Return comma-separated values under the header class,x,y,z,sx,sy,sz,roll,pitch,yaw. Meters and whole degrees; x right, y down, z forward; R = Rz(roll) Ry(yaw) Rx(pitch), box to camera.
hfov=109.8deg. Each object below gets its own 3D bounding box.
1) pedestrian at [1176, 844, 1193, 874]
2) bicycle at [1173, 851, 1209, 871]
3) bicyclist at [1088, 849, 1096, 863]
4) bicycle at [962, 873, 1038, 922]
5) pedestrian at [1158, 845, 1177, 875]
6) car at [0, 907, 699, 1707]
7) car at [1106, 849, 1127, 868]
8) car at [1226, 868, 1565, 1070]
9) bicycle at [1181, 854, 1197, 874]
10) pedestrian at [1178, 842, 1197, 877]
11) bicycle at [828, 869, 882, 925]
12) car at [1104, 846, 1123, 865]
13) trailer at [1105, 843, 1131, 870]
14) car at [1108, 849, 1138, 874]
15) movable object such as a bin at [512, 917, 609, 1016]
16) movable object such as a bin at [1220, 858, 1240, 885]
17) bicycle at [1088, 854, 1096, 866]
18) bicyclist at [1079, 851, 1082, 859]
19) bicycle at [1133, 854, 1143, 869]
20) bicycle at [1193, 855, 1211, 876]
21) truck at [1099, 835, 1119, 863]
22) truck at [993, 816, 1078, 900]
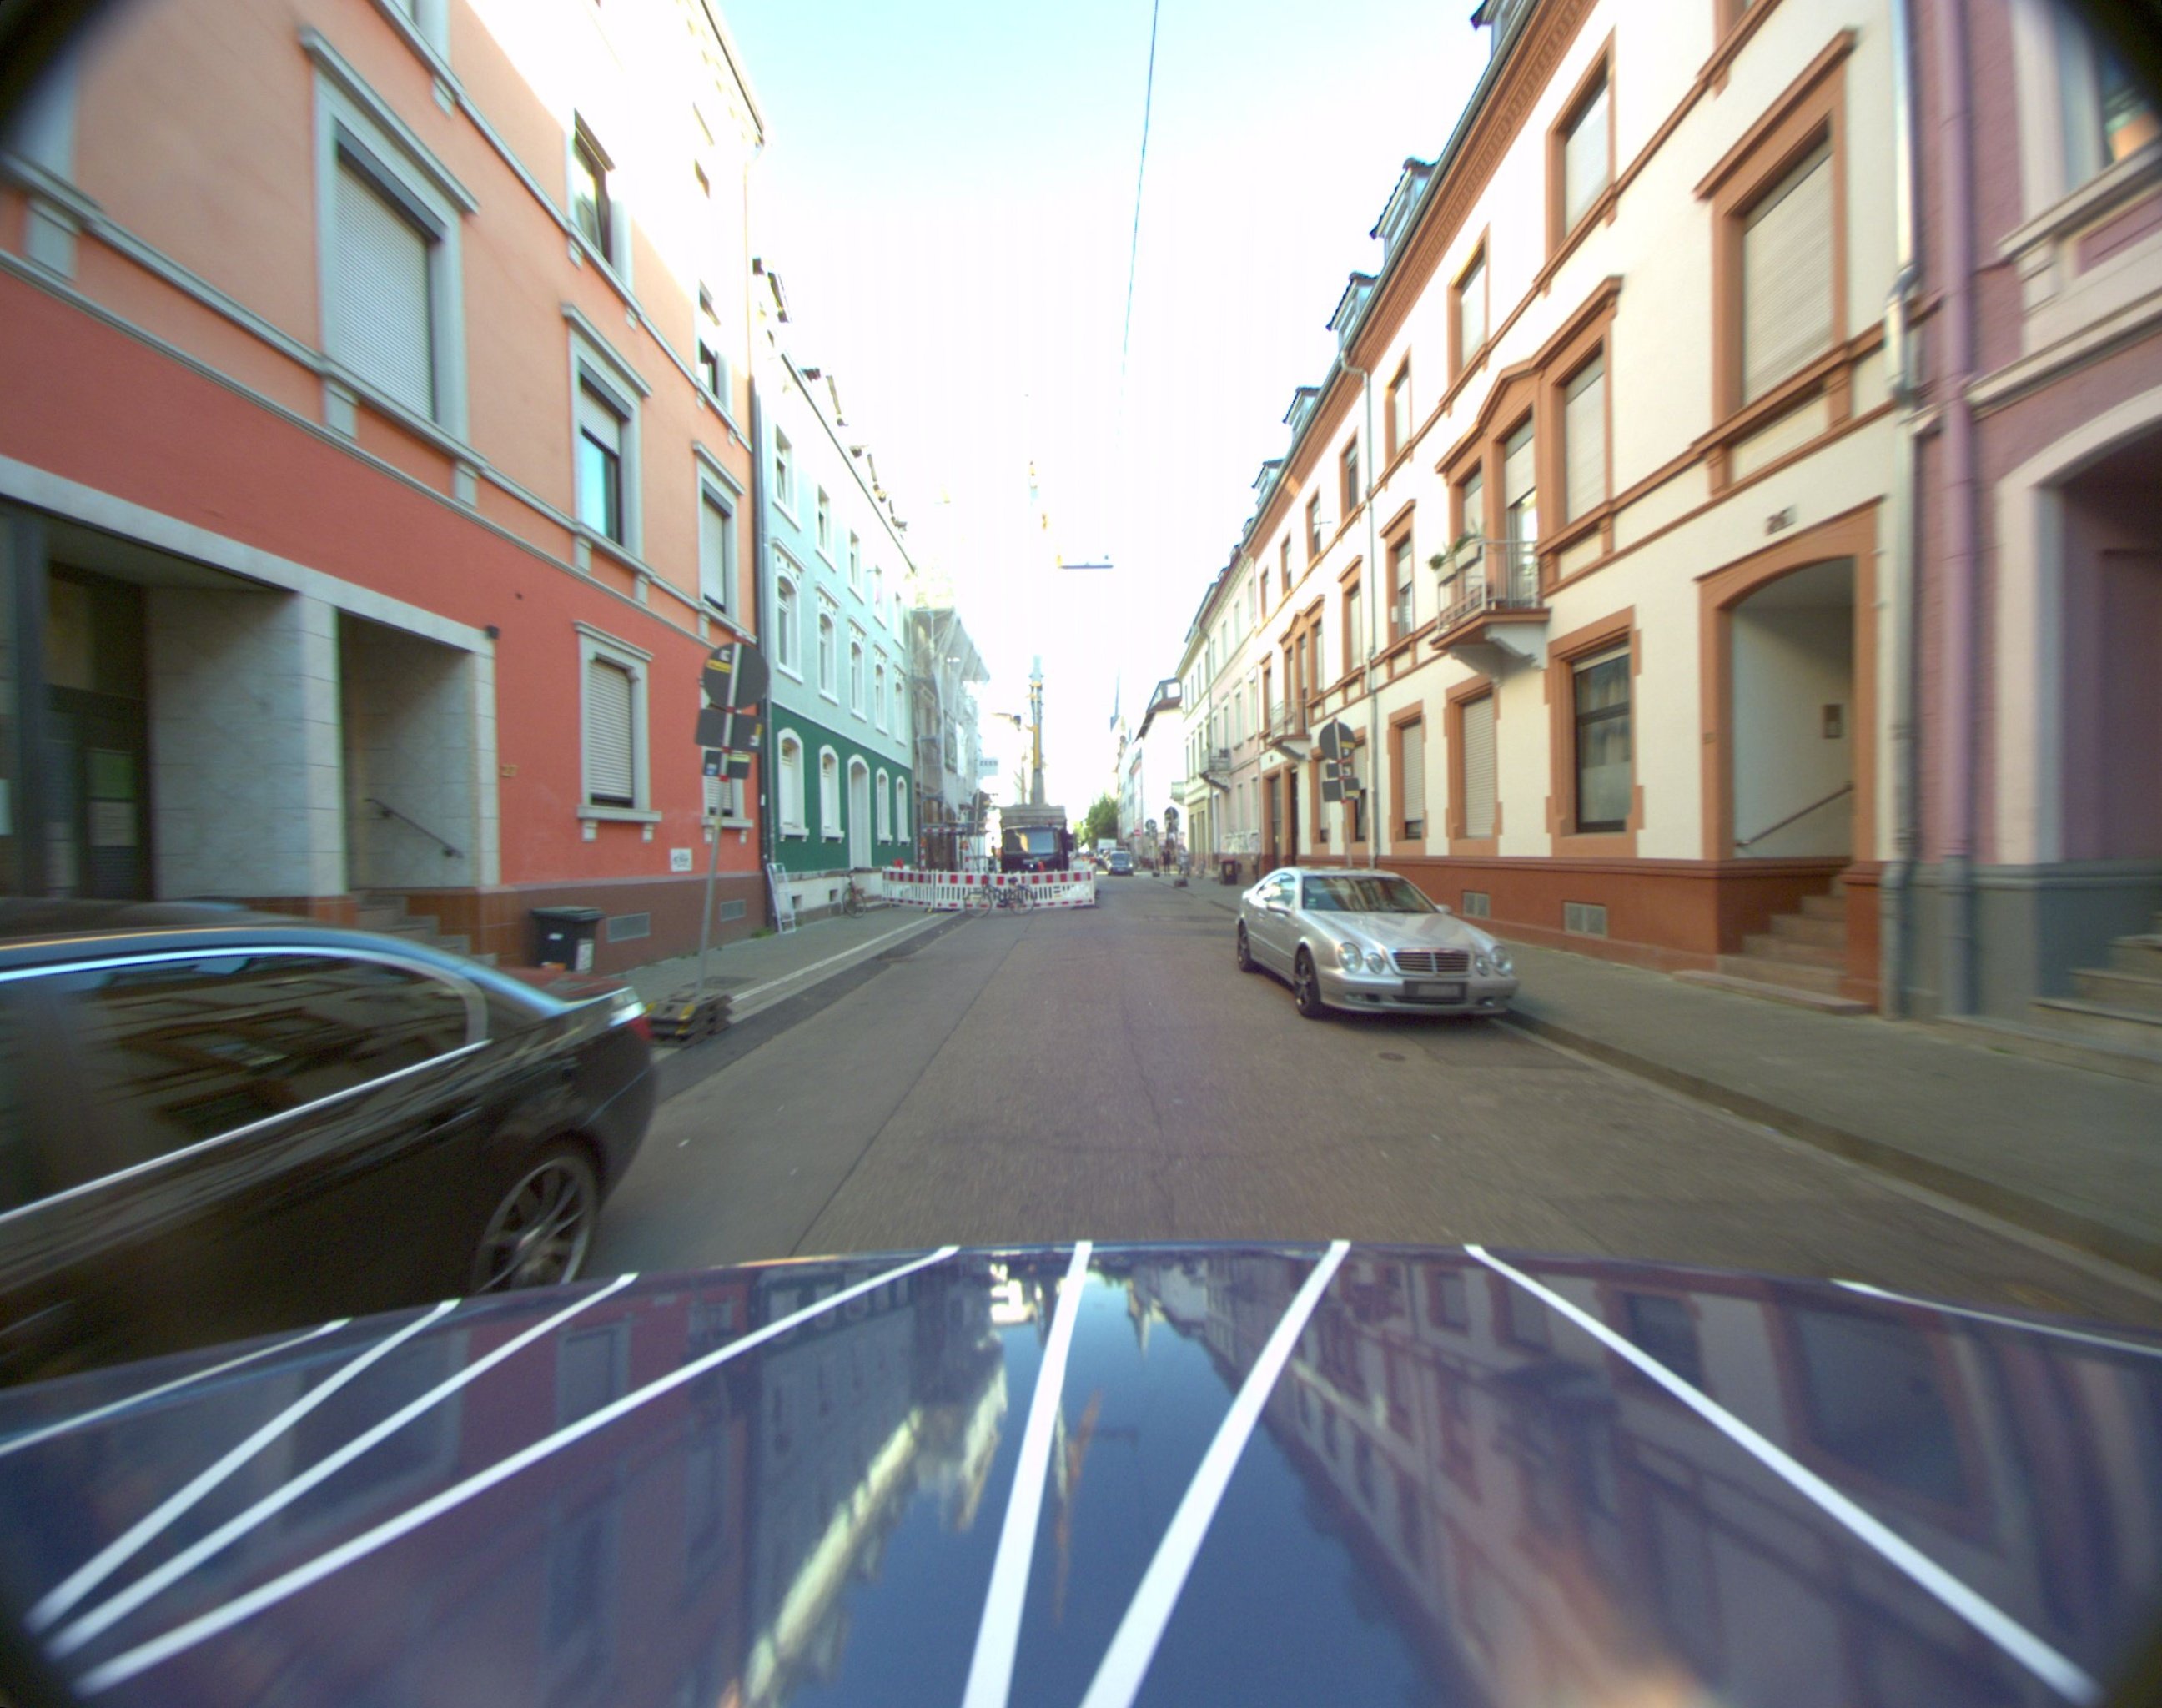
class,x,y,z,sx,sy,sz,roll,pitch,yaw
pedestrian,6.591,0.324,48.527,0.772,1.839,0.779,-3,1,-15
bicycle,8.050,0.519,55.709,2.482,1.351,0.928,-1,1,1
bicyclist,1.119,0.176,76.521,0.710,1.427,0.790,-1,1,2
bicycle,-2.056,1.096,19.398,1.855,1.104,0.643,-2,1,-6
pedestrian,5.157,0.342,45.279,0.828,1.782,0.989,1,1,-9
car,-2.642,1.005,1.027,1.821,1.430,4.789,1,1,0
car,3.132,0.380,67.050,1.681,1.546,3.817,0,1,0
car,2.833,0.925,8.069,1.715,1.375,4.505,1,1,0
bicycle,6.177,0.563,43.522,0.605,1.016,1.818,-5,1,1
pedestrian,5.446,0.284,38.931,0.695,1.691,0.865,-6,-1,0
bicycle,-5.214,0.969,17.643,0.656,1.122,1.834,3,1,0
car,3.271,0.147,77.305,1.807,1.834,4.243,0,1,0
trailer,2.907,0.165,60.956,1.666,2.049,4.362,0,1,-2
car,2.791,0.483,51.473,1.726,1.596,4.165,0,0,-1
movable object such as a bin,-5.314,1.133,7.780,0.599,0.901,0.579,2,2,-1
movable object such as a bin,5.902,0.706,30.137,0.607,1.029,0.596,-2,1,-1
bicycle,1.127,0.589,76.574,0.710,1.105,1.935,-1,1,2
bicyclist,-0.128,0.254,167.340,0.716,1.650,0.877,-2,1,-2
bicycle,4.532,0.586,60.582,0.578,1.132,1.460,-2,1,-5
bicycle,6.165,0.589,38.918,0.623,1.016,1.818,-2,0,1
truck,3.368,-0.611,91.627,2.296,3.165,7.044,0,1,1
truck,-1.579,0.094,29.892,2.668,2.798,7.392,-2,1,1
